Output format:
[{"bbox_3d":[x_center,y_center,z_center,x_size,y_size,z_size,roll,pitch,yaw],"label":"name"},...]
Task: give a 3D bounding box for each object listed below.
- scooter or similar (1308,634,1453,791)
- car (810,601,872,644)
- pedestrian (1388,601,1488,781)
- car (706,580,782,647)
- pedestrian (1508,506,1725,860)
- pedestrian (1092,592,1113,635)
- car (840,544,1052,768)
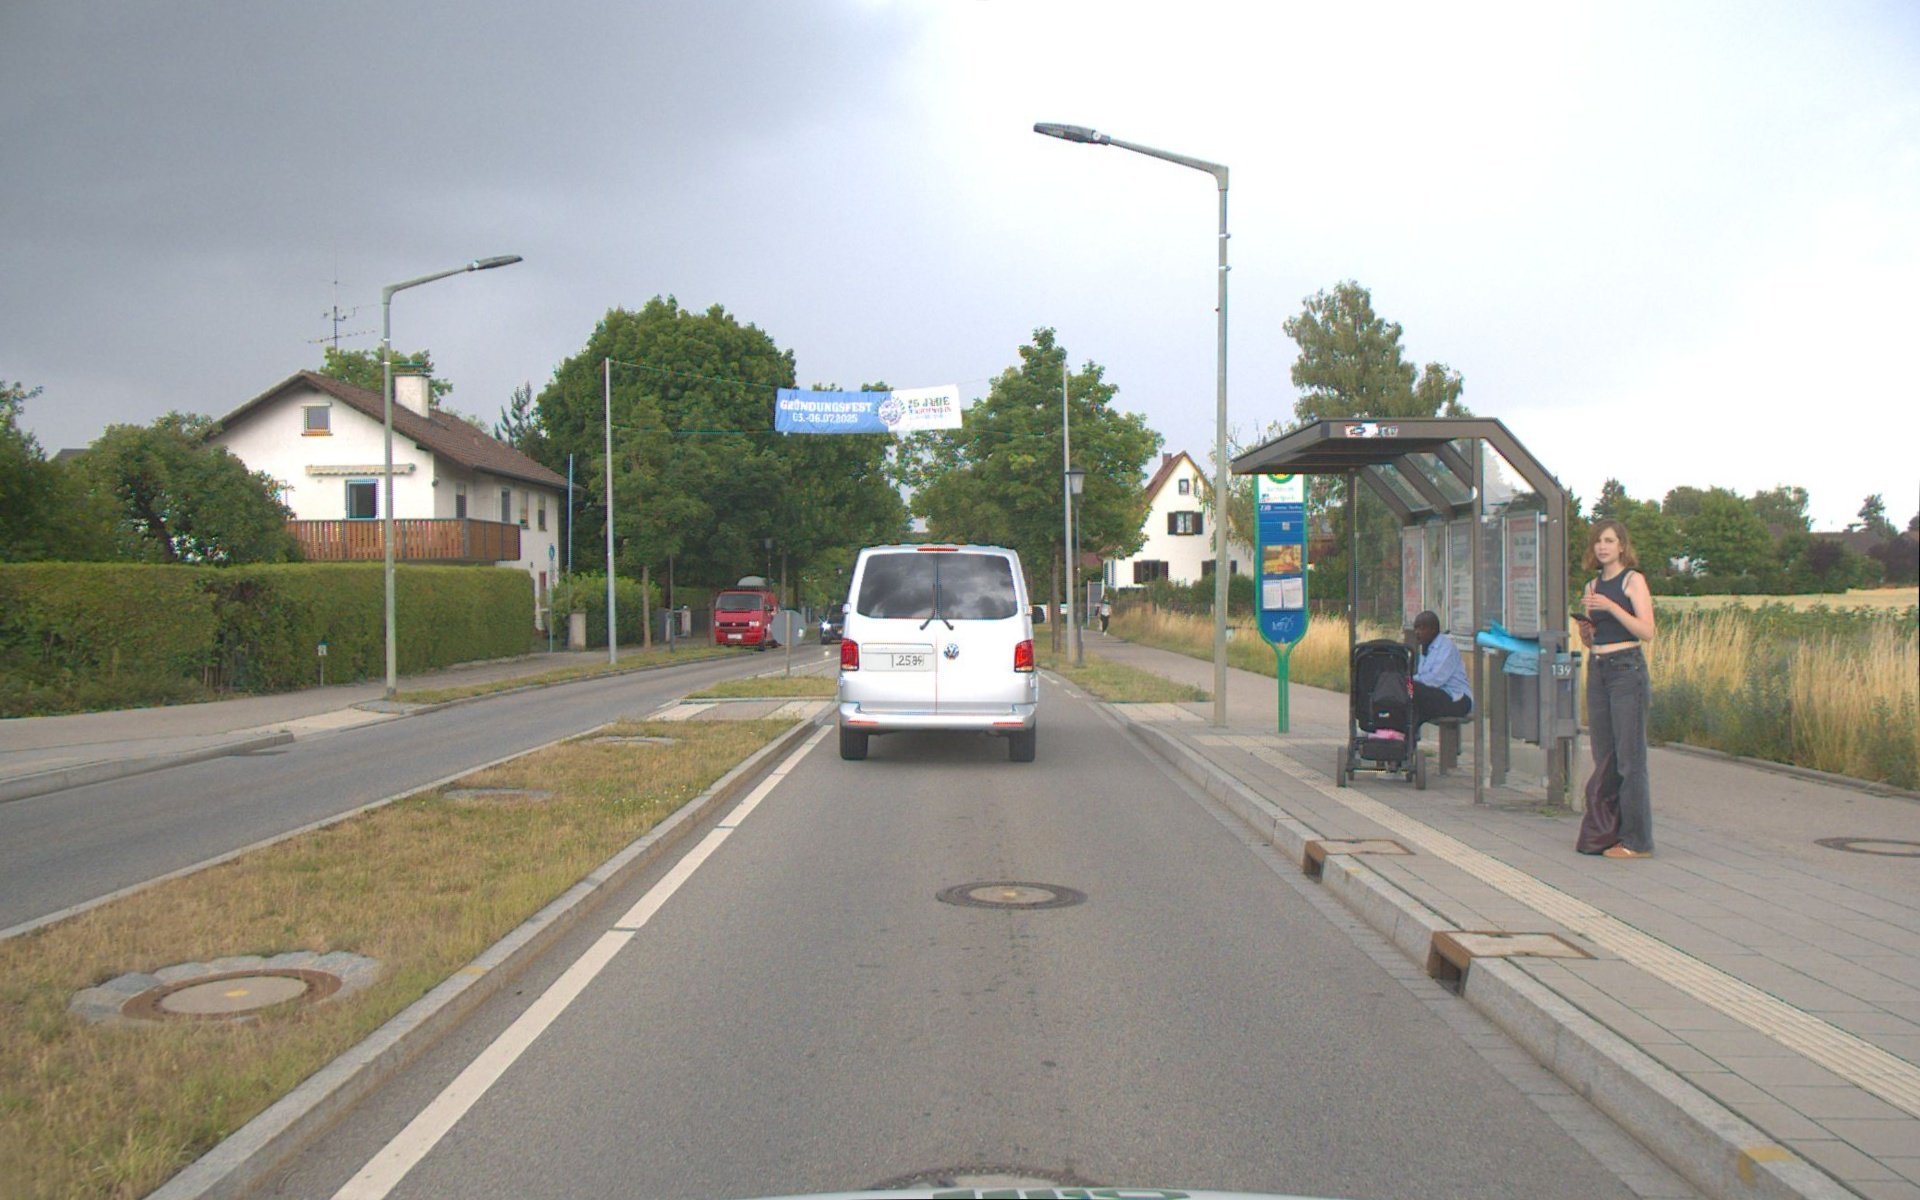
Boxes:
[{"bbox_3d":[3.108,0.798,12.184,0.694,1.080,1.056,0,-1,36],"label":"scooter or similar"},{"bbox_3d":[-4.462,0.817,62.533,1.880,1.479,4.497,-1,0,1],"label":"car"},{"bbox_3d":[3.638,0.679,12.626,0.650,1.325,0.505,1,0,8],"label":"pedestrian"},{"bbox_3d":[-7.033,0.404,54.383,1.792,2.066,5.046,1,0,0],"label":"car"},{"bbox_3d":[3.573,0.433,9.039,0.770,1.824,0.774,1,0,-22],"label":"pedestrian"},{"bbox_3d":[5.913,0.561,68.616,0.820,1.785,0.870,0,0,4],"label":"pedestrian"},{"bbox_3d":[-0.162,0.499,16.418,1.849,1.945,3.999,0,0,-1],"label":"car"}]
